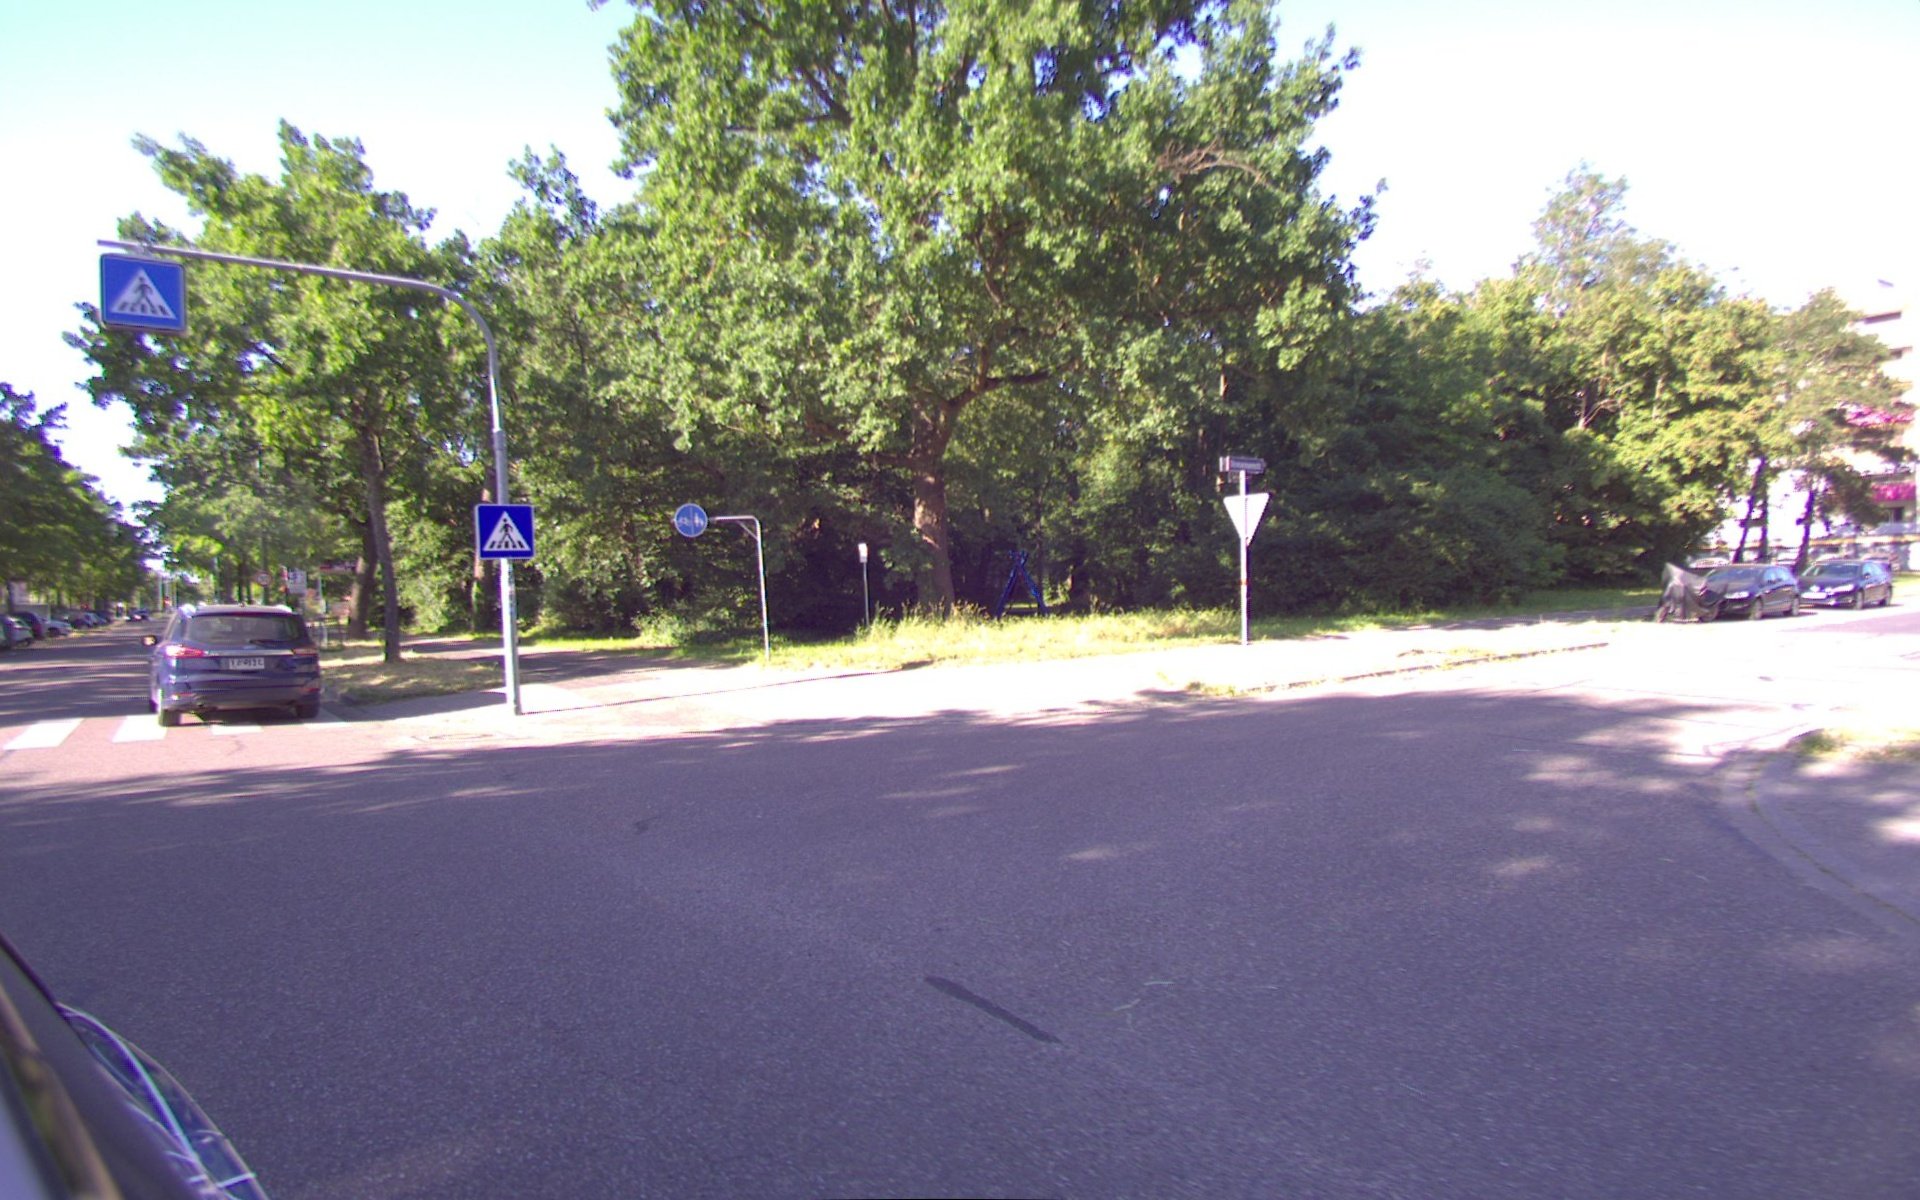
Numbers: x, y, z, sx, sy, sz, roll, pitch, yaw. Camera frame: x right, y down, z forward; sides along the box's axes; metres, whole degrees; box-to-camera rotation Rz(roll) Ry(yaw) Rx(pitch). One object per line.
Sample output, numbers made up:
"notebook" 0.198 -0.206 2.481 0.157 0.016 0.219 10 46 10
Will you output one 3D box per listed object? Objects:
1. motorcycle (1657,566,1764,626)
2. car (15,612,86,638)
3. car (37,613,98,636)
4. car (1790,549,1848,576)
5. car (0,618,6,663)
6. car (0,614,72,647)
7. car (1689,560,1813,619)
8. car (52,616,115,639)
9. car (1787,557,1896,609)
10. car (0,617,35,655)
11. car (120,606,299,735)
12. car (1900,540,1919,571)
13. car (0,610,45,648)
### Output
"motorcycle" 18.126 -0.089 24.490 1.950 1.354 0.670 -2 1 26
"car" -73.440 2.002 81.809 4.088 1.862 1.953 -3 1 -37
"car" -83.502 2.250 94.723 4.088 1.862 1.953 -3 1 -37
"car" 53.478 -2.332 62.976 3.773 1.538 1.805 -3 1 -34
"car" -39.421 1.686 38.513 4.327 1.756 1.536 -3 1 -36
"car" -60.217 1.966 65.490 3.936 1.862 1.867 -3 1 -37
"car" 21.114 -0.283 26.978 3.529 1.402 1.564 -3 1 -34
"car" -79.266 2.457 91.605 4.088 1.862 1.953 -3 1 -37
"car" 26.265 -0.520 30.140 3.529 1.402 1.564 -3 1 -34
"car" -46.435 1.776 47.440 4.327 1.756 1.536 -3 1 -36
"car" -11.374 0.941 15.200 1.799 1.637 4.498 0 -1 -41
"car" 56.358 -2.639 58.735 3.773 1.757 1.767 -3 1 -34
"car" -47.740 1.479 49.445 4.327 1.756 1.536 -3 1 -36
